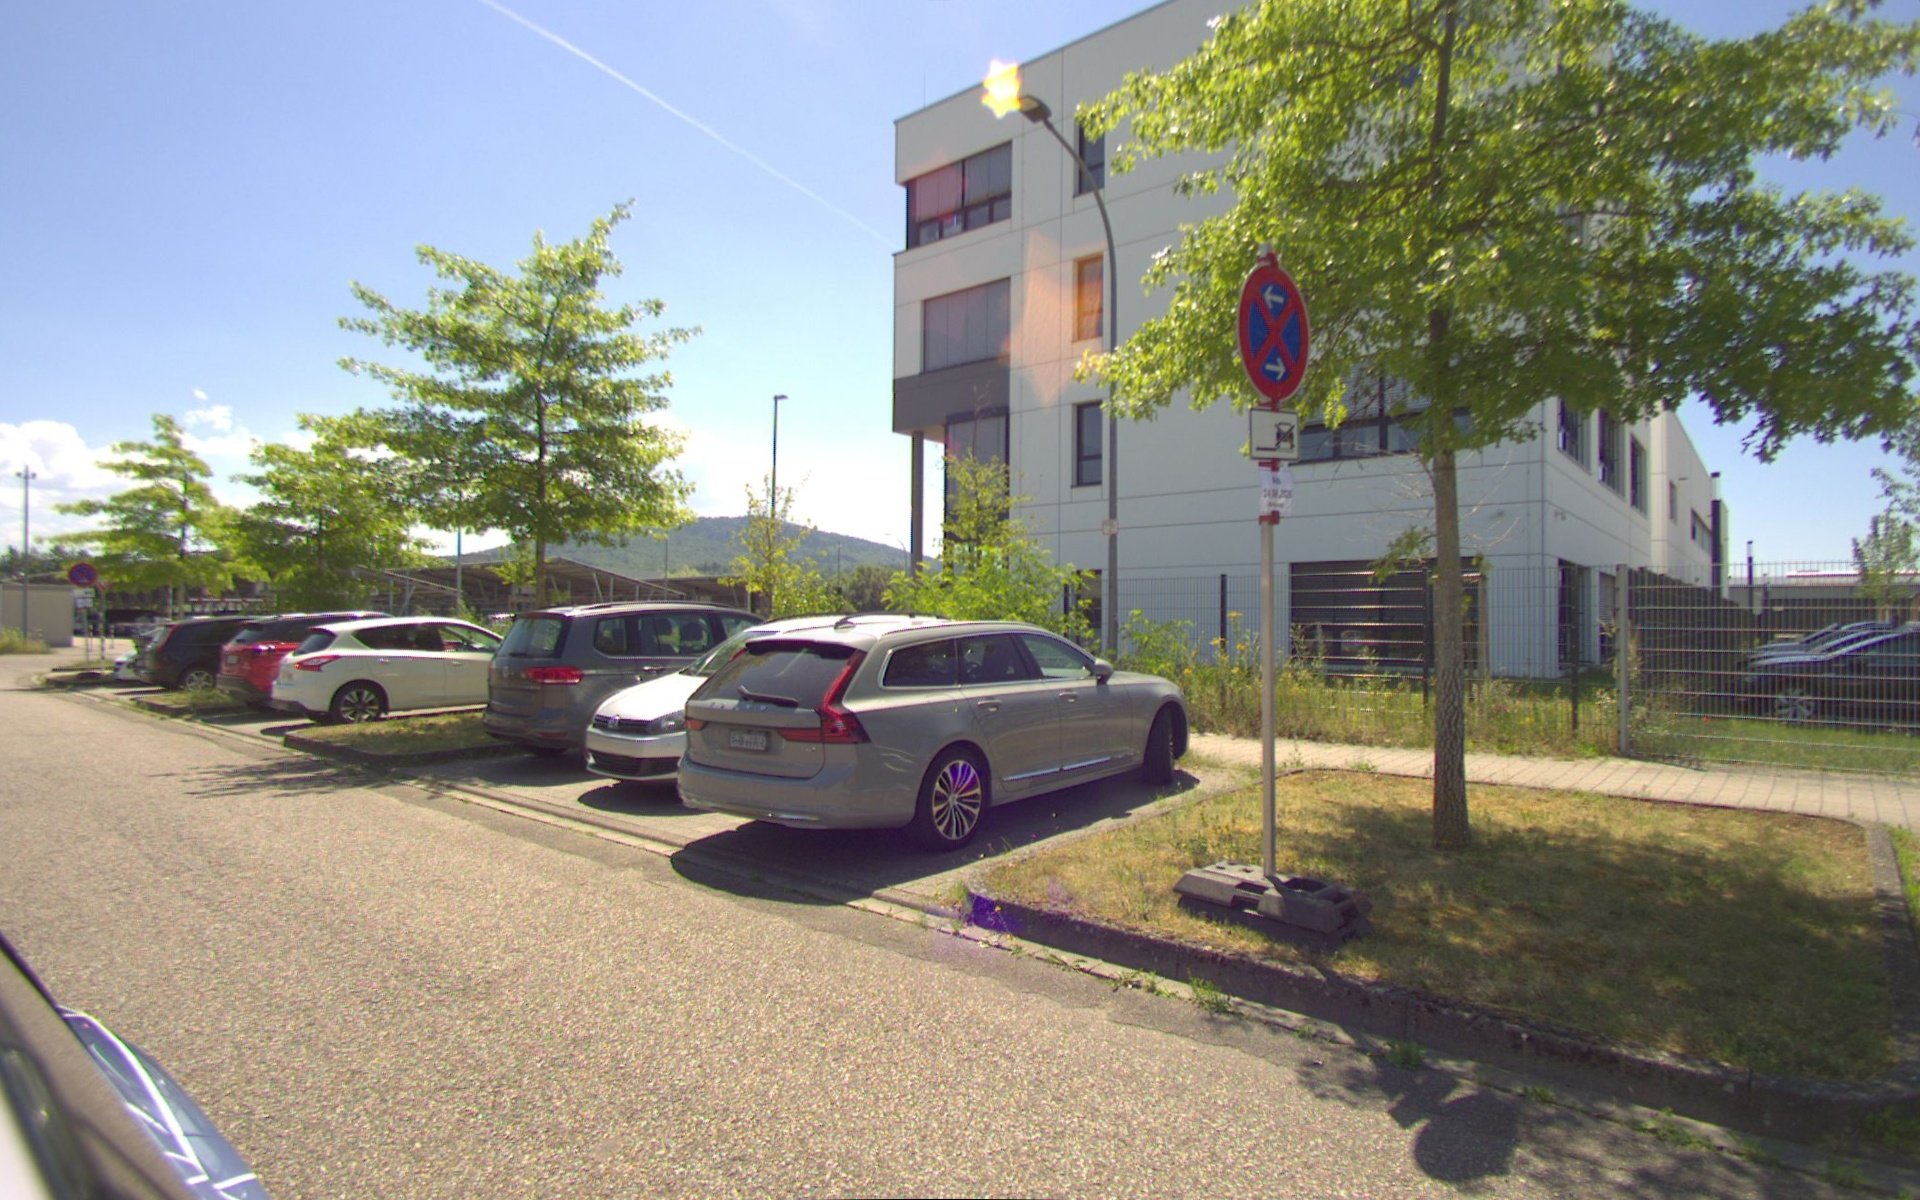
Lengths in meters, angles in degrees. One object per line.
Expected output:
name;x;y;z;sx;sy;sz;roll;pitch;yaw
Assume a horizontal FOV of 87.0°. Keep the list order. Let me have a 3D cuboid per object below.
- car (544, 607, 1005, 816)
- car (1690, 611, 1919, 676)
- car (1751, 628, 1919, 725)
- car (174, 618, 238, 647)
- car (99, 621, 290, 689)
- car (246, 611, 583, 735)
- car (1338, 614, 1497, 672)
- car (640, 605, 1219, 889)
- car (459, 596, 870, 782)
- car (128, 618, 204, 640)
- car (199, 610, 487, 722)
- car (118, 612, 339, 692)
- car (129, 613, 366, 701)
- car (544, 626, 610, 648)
car;-1.522;0.851;9.702;1.725;1.484;4.269;-1;0;39
car;18.071;0.888;21.524;3.998;1.237;1.973;0;-2;41
car;14.129;1.153;14.734;3.999;1.237;1.973;3;0;41
car;-39.296;1.693;52.727;3.770;1.447;1.702;-1;-2;37
car;-18.825;1.295;24.984;1.726;1.452;3.469;-1;0;40
car;-8.144;0.996;15.387;1.807;1.524;4.127;-3;-1;42
car;13.599;1.246;30.168;3.997;1.614;1.758;-1;-2;40
car;0.107;0.813;7.825;1.856;1.458;4.666;-1;0;40
car;-3.106;0.816;11.259;1.727;1.647;4.073;-2;0;43
car;-53.793;1.957;68.600;1.721;1.447;3.728;-1;-2;37
car;-10.284;1.015;17.094;1.725;1.604;3.801;-1;0;39
car;-16.803;1.131;23.390;1.827;1.605;3.802;-1;0;37
car;-15.001;1.127;21.433;1.728;1.604;3.862;-2;0;45
car;-25.277;2.418;66.869;1.721;1.447;3.728;-1;-2;37
